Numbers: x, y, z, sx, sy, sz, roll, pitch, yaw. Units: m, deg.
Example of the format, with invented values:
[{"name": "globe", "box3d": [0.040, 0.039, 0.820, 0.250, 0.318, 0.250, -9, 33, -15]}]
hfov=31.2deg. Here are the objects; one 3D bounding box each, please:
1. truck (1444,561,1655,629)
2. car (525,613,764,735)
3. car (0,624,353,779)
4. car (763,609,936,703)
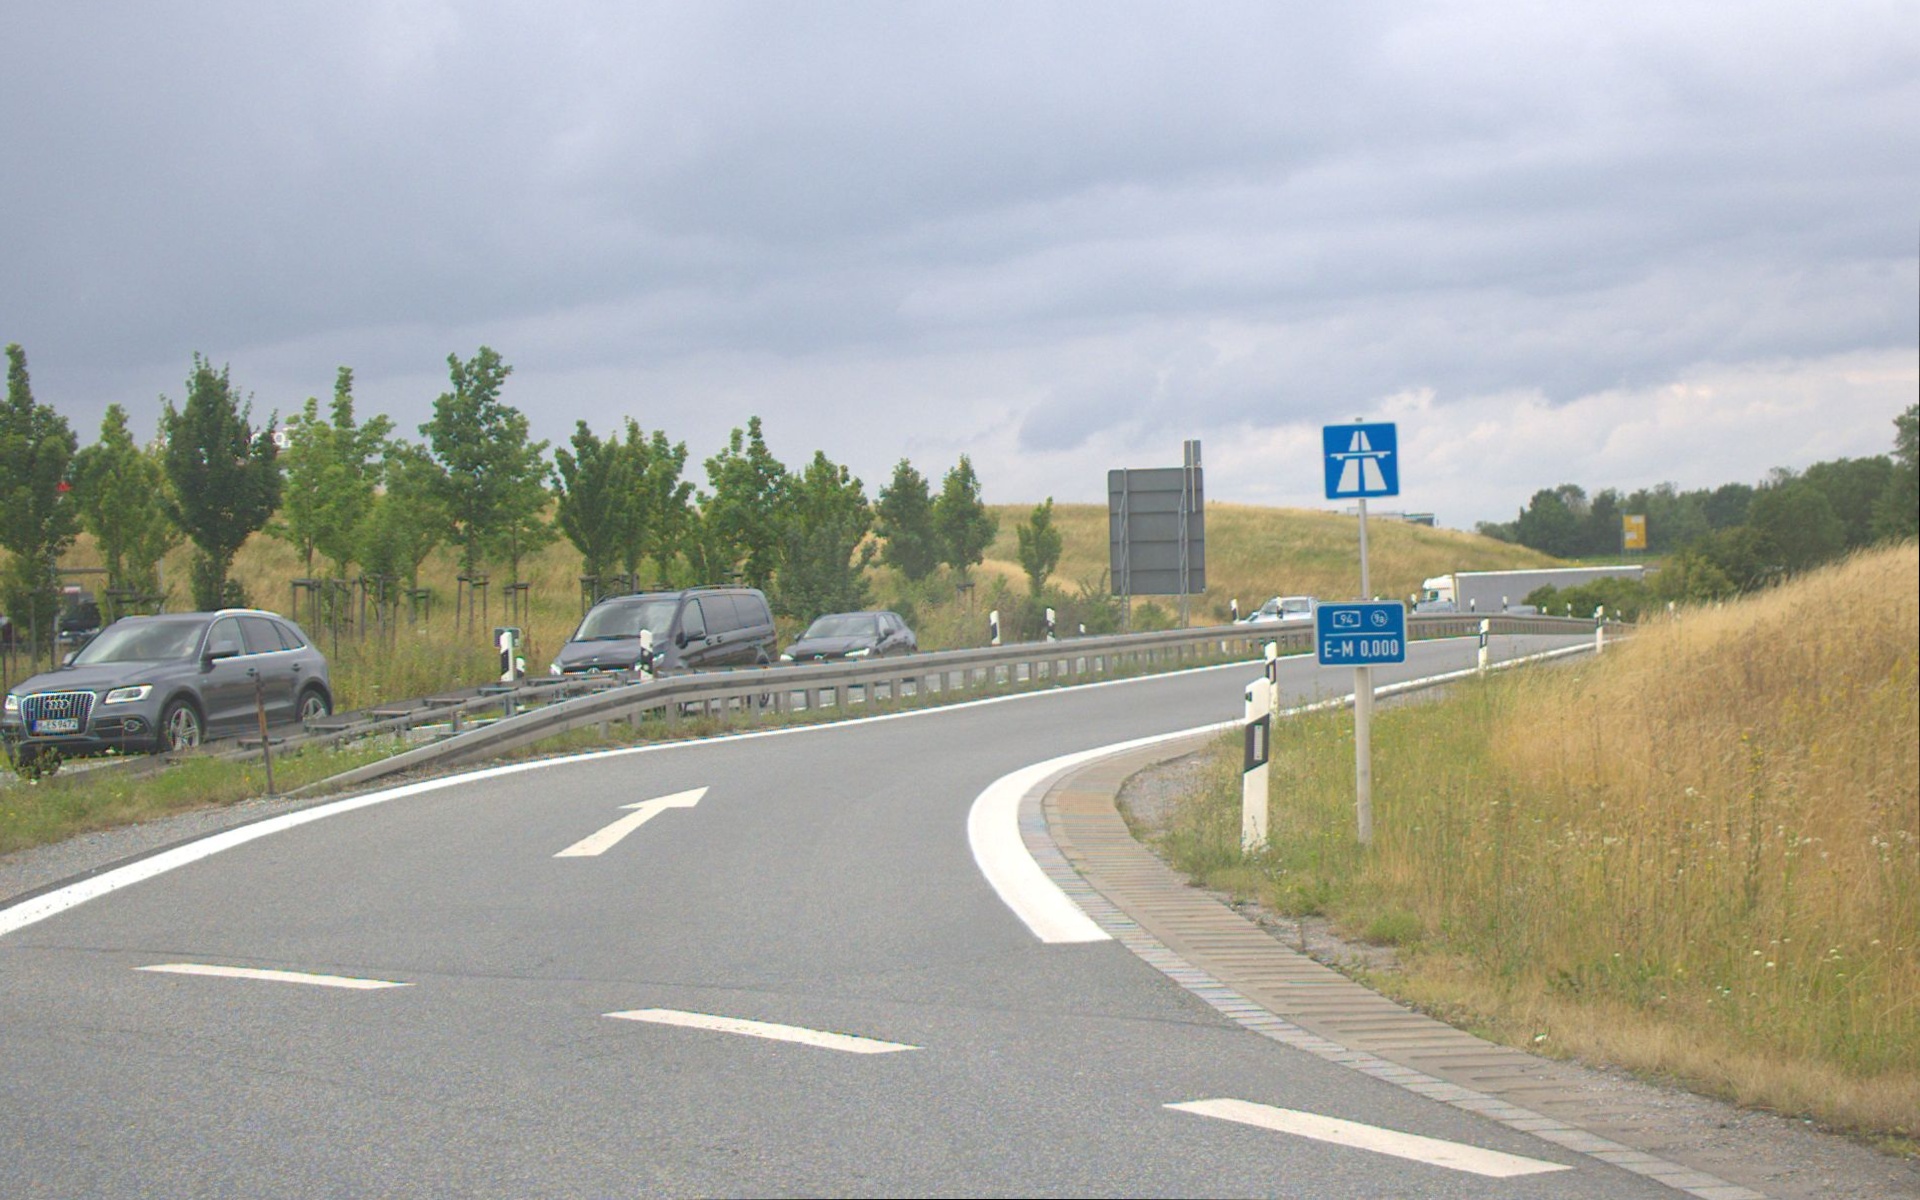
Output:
[{"name": "truck", "box3d": [43.738, -0.374, 255.389, 15.282, 4.944, 3.448, 0, 0, 7]}, {"name": "car", "box3d": [-4.676, 1.090, 51.675, 1.995, 1.678, 4.588, -3, -1, 16]}, {"name": "car", "box3d": [-8.309, 1.017, 36.196, 1.732, 1.486, 4.538, 0, 0, 20]}, {"name": "car", "box3d": [-2.094, 1.067, 66.703, 1.995, 1.678, 4.588, -3, -1, 16]}]
